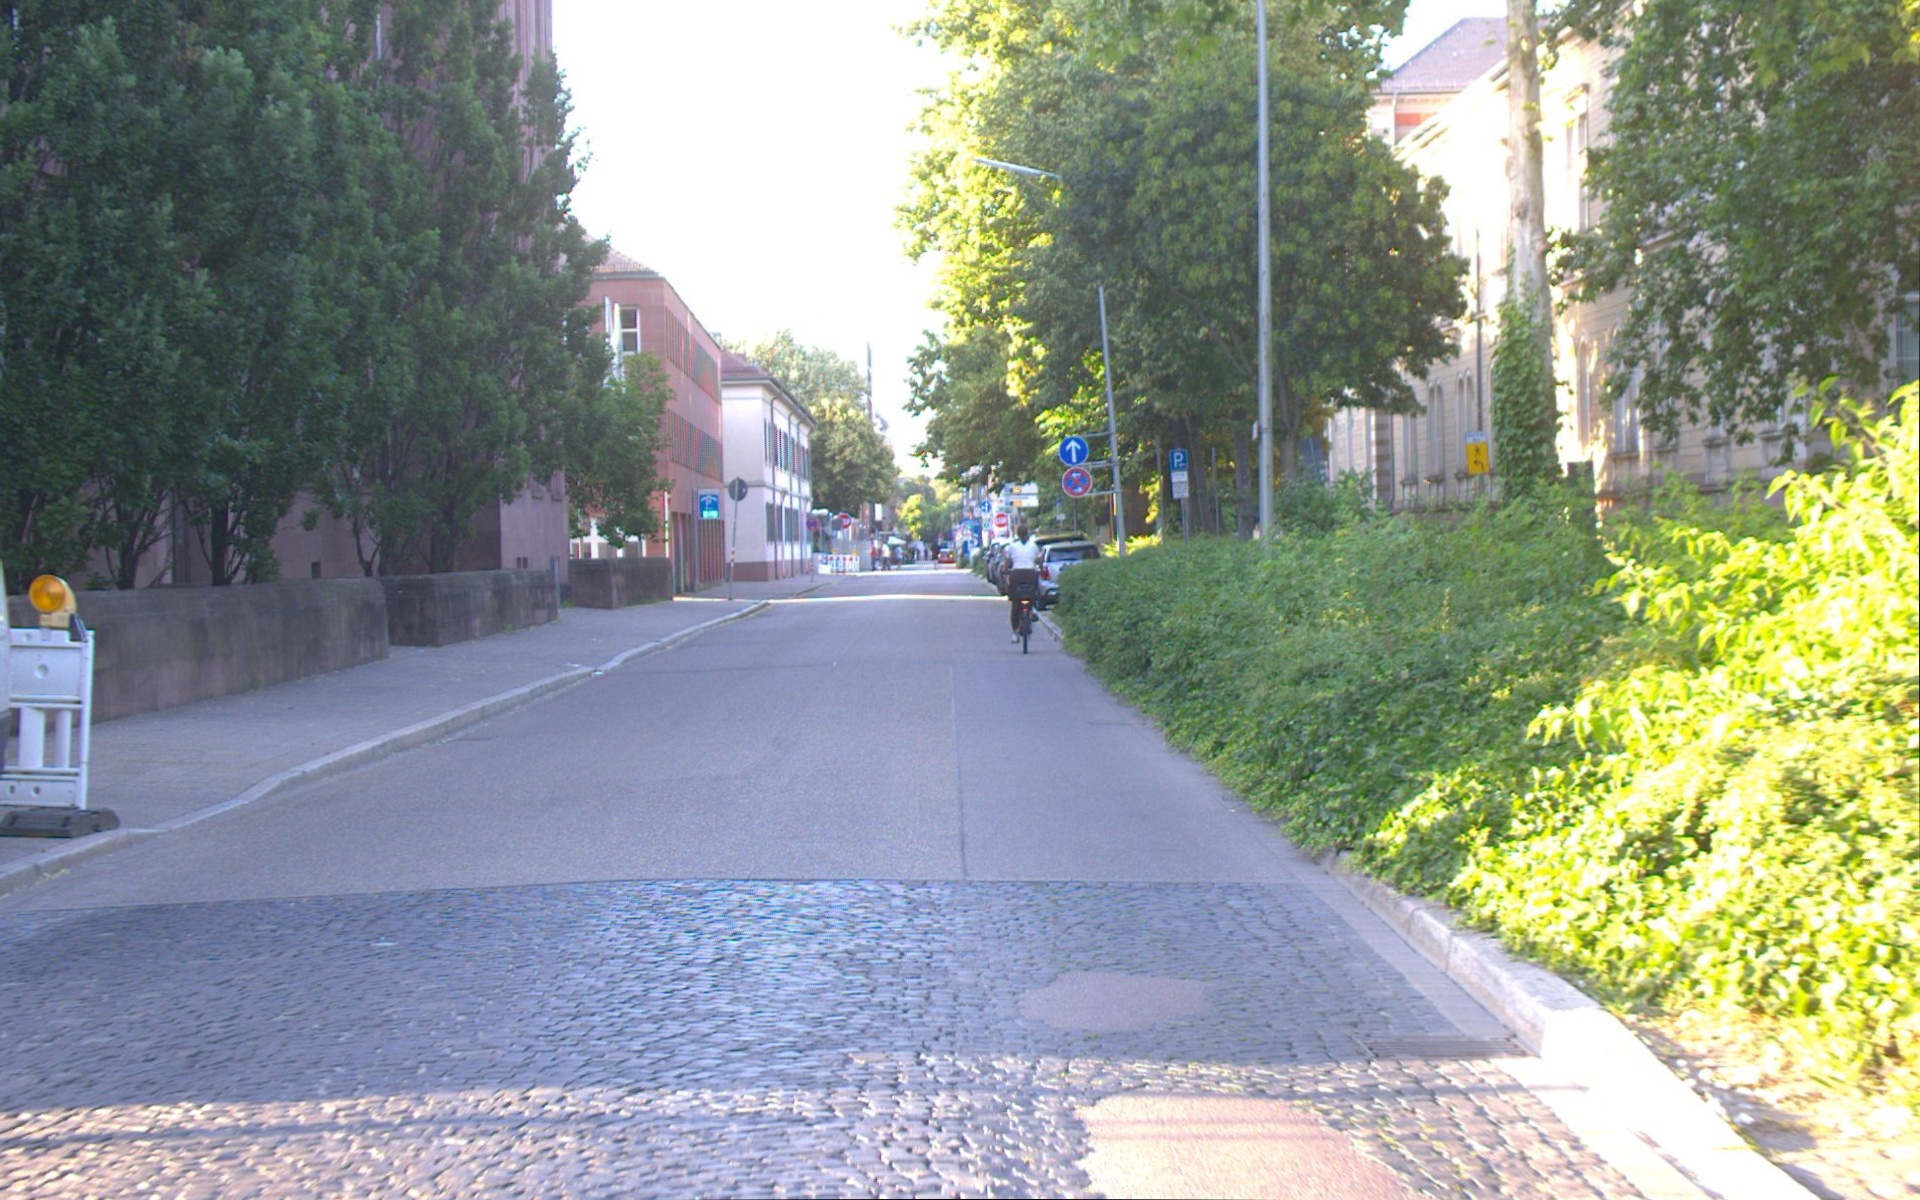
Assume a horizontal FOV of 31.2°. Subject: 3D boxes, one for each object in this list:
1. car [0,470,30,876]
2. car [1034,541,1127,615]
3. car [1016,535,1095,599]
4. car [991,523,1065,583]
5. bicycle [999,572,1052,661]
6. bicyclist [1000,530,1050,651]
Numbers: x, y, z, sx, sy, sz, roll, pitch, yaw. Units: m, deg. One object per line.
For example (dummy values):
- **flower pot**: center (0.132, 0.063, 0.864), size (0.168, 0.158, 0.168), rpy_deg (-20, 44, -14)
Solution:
- **car**: center (-5.616, 0.350, 14.929), size (1.882, 2.007, 5.226), rpy_deg (1, 0, -2)
- **car**: center (2.578, -0.467, 74.253), size (1.685, 1.442, 3.672), rpy_deg (-4, 0, -2)
- **car**: center (2.418, -0.855, 87.843), size (1.715, 1.532, 4.049), rpy_deg (-2, 1, -2)
- **car**: center (2.033, -1.418, 103.825), size (1.993, 1.700, 4.000), rpy_deg (-2, 1, -1)
- **bicycle**: center (0.903, 0.216, 47.815), size (0.638, 1.189, 1.876), rpy_deg (0, 1, -2)
- **bicyclist**: center (0.906, -0.143, 47.752), size (0.639, 1.661, 0.843), rpy_deg (0, 1, -2)
